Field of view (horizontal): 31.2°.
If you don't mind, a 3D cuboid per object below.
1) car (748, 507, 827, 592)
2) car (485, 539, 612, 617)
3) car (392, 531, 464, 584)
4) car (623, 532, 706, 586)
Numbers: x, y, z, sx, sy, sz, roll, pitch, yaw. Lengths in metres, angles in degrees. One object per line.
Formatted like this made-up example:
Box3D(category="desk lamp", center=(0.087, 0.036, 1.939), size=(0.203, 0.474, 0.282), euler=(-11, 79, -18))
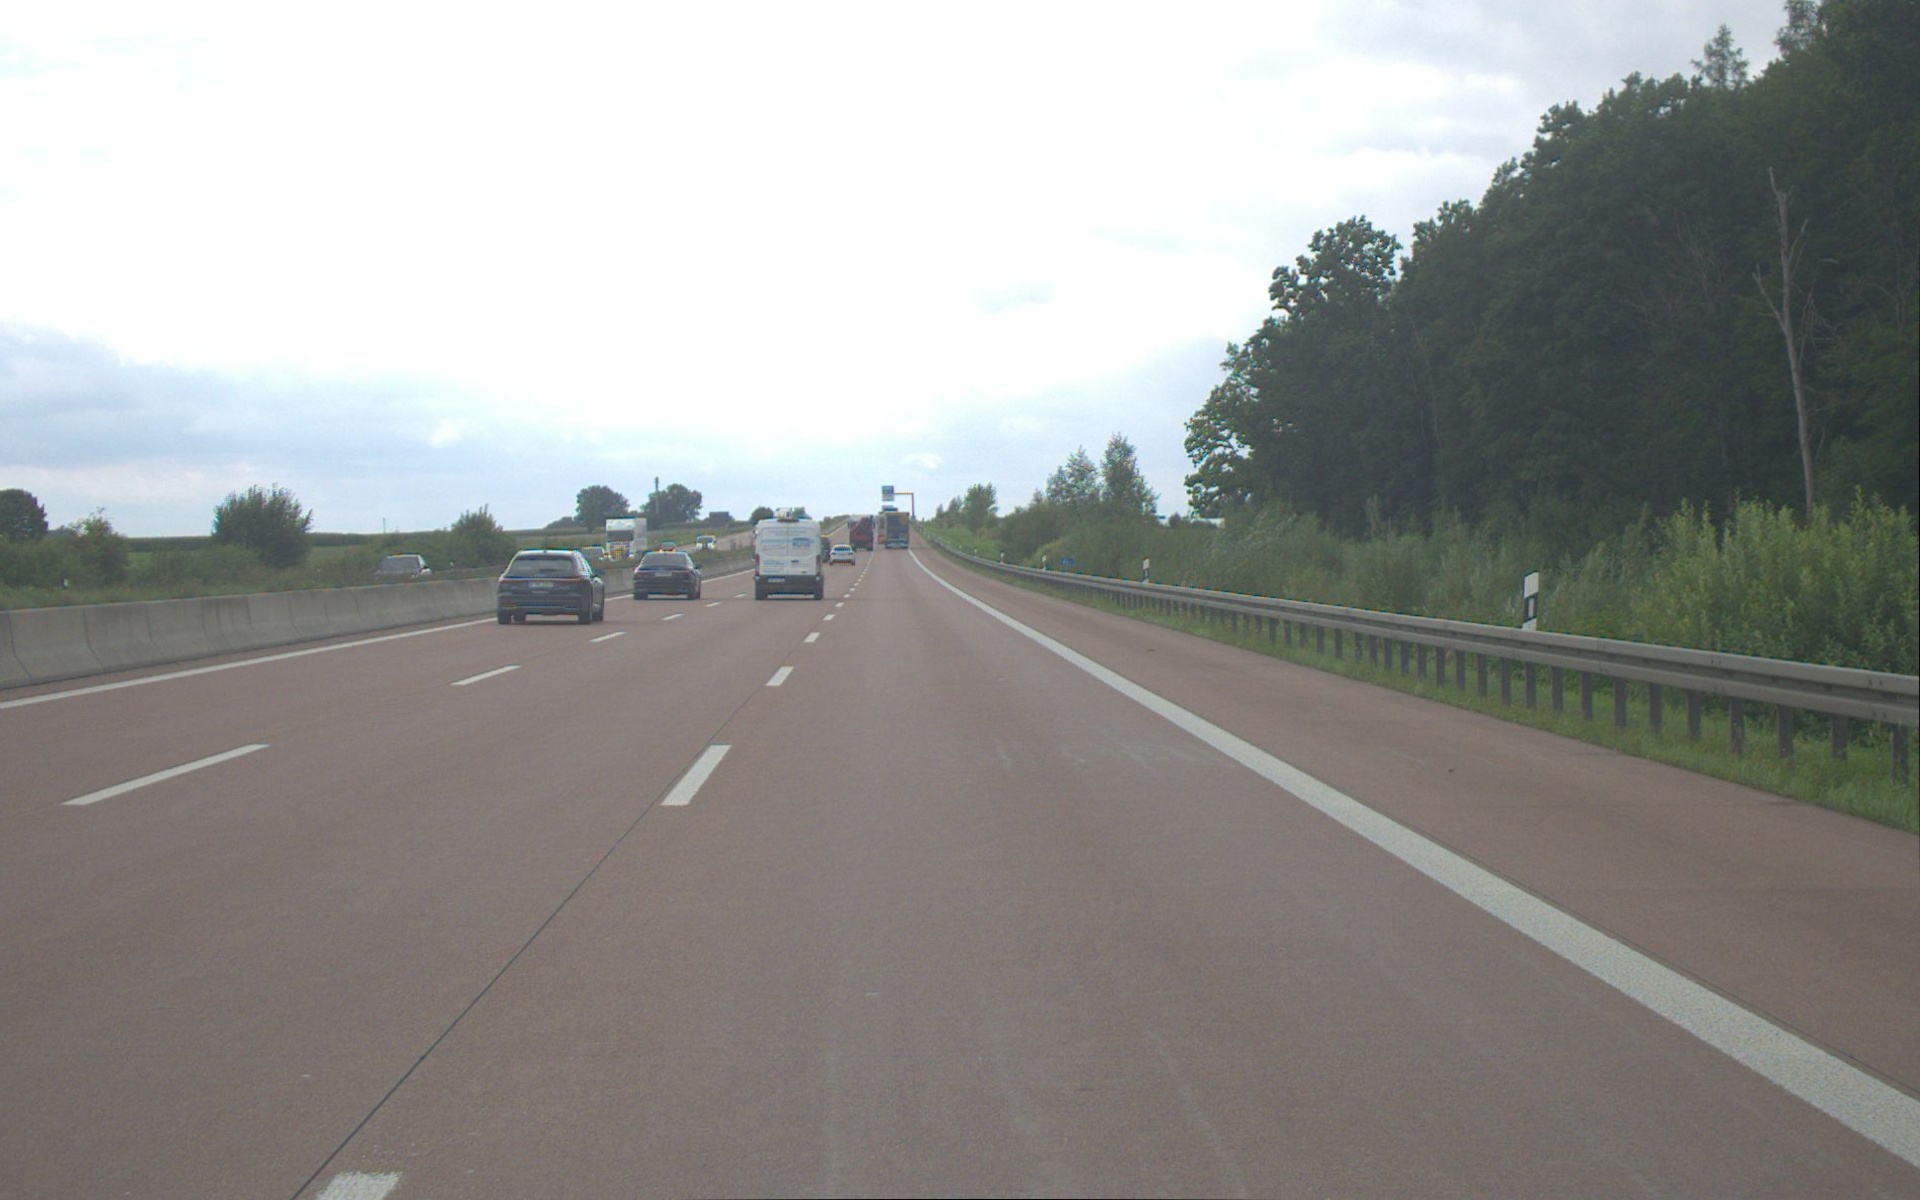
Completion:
Box3D(category="car", center=(-5.265, -1.595, 105.770), size=(2.137, 2.498, 7.132), euler=(0, 1, -1))
Box3D(category="car", center=(-8.324, -0.481, 69.931), size=(2.059, 1.486, 5.453), euler=(0, 1, -1))
Box3D(category="car", center=(-20.116, -1.617, 130.126), size=(1.993, 1.758, 4.000), euler=(6, 1, -1))
Box3D(category="car", center=(-8.984, -1.270, 104.862), size=(2.085, 1.545, 5.675), euler=(1, 1, -1))
